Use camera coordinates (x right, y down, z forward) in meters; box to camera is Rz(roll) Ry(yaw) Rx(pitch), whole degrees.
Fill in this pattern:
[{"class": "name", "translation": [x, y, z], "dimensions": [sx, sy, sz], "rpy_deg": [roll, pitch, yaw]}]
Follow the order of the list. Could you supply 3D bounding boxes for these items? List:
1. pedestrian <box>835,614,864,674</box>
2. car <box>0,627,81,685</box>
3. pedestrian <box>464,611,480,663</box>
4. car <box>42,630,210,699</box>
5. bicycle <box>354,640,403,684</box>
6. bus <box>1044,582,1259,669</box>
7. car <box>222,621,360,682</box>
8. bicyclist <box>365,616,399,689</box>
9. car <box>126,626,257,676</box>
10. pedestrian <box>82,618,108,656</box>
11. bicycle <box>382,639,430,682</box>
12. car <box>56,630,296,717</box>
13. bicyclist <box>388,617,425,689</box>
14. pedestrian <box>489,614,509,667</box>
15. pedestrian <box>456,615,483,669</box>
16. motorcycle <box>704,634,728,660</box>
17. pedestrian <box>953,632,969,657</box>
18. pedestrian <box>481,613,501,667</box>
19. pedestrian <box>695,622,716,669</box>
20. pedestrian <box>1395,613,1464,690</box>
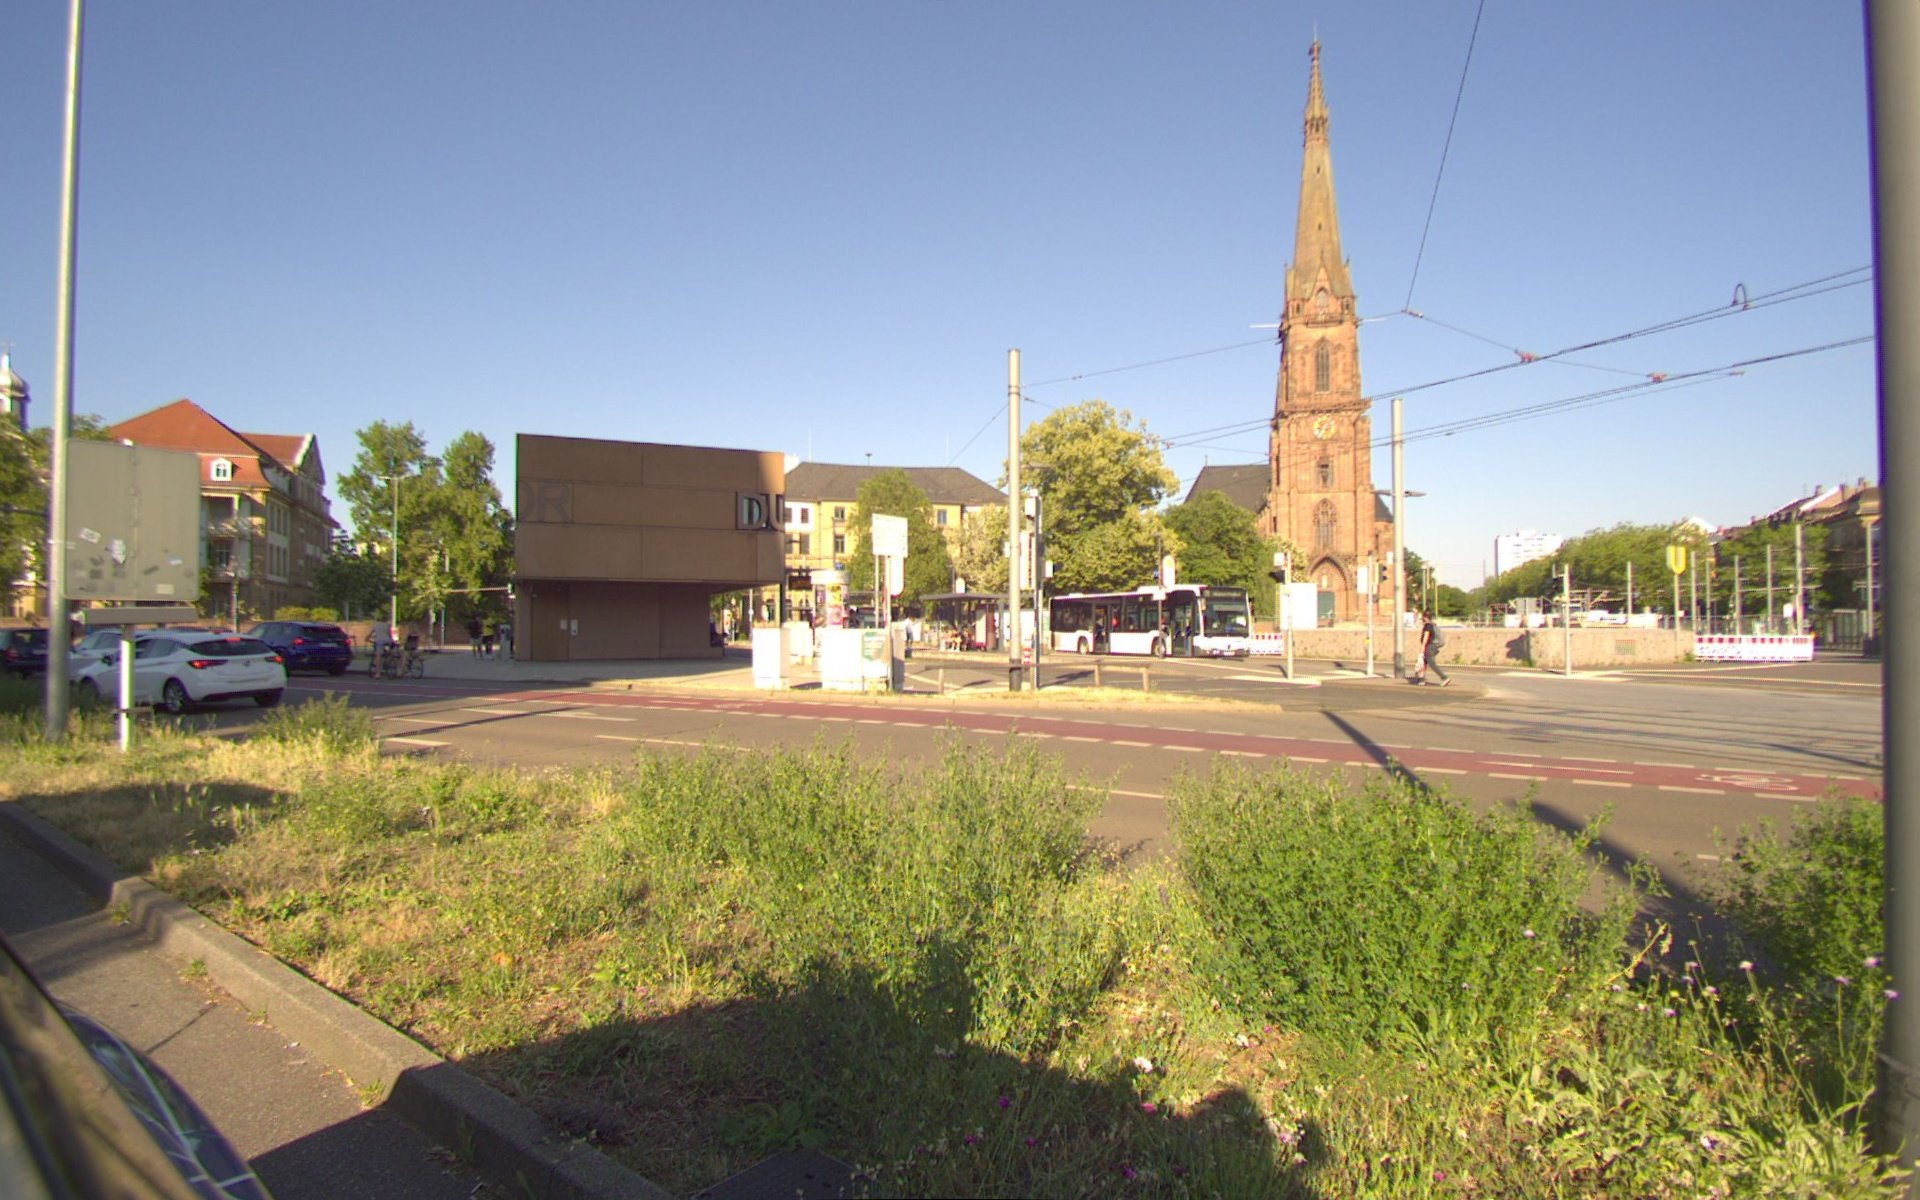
[{"class": "pedestrian", "translation": [-3.345, 1.323, 30.631], "dimensions": [0.702, 1.771, 0.584], "rpy_deg": [-1, 0, -30]}, {"class": "car", "translation": [-26.828, 1.523, 28.566], "dimensions": [4.170, 1.471, 1.739], "rpy_deg": [-1, 0, 29]}, {"class": "pedestrian", "translation": [-19.151, 1.442, 39.709], "dimensions": [0.460, 2.029, 0.658], "rpy_deg": [-1, 0, -32]}, {"class": "car", "translation": [-20.743, 1.533, 25.139], "dimensions": [4.375, 1.503, 1.831], "rpy_deg": [-1, 0, 30]}, {"class": "bicycle", "translation": [-16.479, 1.744, 28.679], "dimensions": [1.388, 1.201, 0.461], "rpy_deg": [-1, 0, 24]}, {"class": "bus", "translation": [7.666, 0.969, 43.356], "dimensions": [2.655, 3.174, 12.216], "rpy_deg": [-1, 0, -23]}, {"class": "car", "translation": [-20.029, 1.496, 30.270], "dimensions": [4.171, 1.703, 1.739], "rpy_deg": [-1, -2, 30]}, {"class": "bicyclist", "translation": [-16.314, 1.476, 28.569], "dimensions": [0.562, 2.029, 0.605], "rpy_deg": [-1, -2, 25]}, {"class": "car", "translation": [-25.063, 1.643, 32.996], "dimensions": [4.375, 1.503, 1.831], "rpy_deg": [-1, -4, 30]}, {"class": "pedestrian", "translation": [-43.891, 1.853, 51.362], "dimensions": [0.787, 1.911, 0.612], "rpy_deg": [0, -2, -9]}, {"class": "bicycle", "translation": [-15.971, 1.738, 29.193], "dimensions": [1.388, 1.201, 0.461], "rpy_deg": [-1, 0, 24]}, {"class": "car", "translation": [-14.928, 1.333, 19.278], "dimensions": [4.159, 1.471, 1.744], "rpy_deg": [-1, 0, 21]}, {"class": "bicyclist", "translation": [-15.958, 1.515, 29.175], "dimensions": [0.705, 2.029, 0.605], "rpy_deg": [-1, -2, 25]}, {"class": "pedestrian", "translation": [-18.030, 1.579, 39.550], "dimensions": [0.645, 2.029, 0.470], "rpy_deg": [-1, 0, -29]}, {"class": "pedestrian", "translation": [-18.666, 1.587, 38.506], "dimensions": [0.765, 2.029, 0.775], "rpy_deg": [-1, 0, -37]}, {"class": "motorcycle", "translation": [-10.147, 1.957, 42.080], "dimensions": [0.935, 1.075, 0.331], "rpy_deg": [-1, 0, -11]}, {"class": "pedestrian", "translation": [0.046, 2.194, 49.901], "dimensions": [0.531, 1.196, 0.660], "rpy_deg": [-1, 0, -21]}, {"class": "pedestrian", "translation": [-17.806, 1.498, 38.404], "dimensions": [0.645, 2.029, 0.470], "rpy_deg": [-1, 0, -29]}, {"class": "pedestrian", "translation": [-11.373, 2.017, 45.194], "dimensions": [0.762, 2.029, 0.778], "rpy_deg": [-1, 0, -2]}, {"class": "pedestrian", "translation": [10.874, 1.170, 23.457], "dimensions": [1.025, 1.696, 1.007], "rpy_deg": [-1, 0, -25]}]
